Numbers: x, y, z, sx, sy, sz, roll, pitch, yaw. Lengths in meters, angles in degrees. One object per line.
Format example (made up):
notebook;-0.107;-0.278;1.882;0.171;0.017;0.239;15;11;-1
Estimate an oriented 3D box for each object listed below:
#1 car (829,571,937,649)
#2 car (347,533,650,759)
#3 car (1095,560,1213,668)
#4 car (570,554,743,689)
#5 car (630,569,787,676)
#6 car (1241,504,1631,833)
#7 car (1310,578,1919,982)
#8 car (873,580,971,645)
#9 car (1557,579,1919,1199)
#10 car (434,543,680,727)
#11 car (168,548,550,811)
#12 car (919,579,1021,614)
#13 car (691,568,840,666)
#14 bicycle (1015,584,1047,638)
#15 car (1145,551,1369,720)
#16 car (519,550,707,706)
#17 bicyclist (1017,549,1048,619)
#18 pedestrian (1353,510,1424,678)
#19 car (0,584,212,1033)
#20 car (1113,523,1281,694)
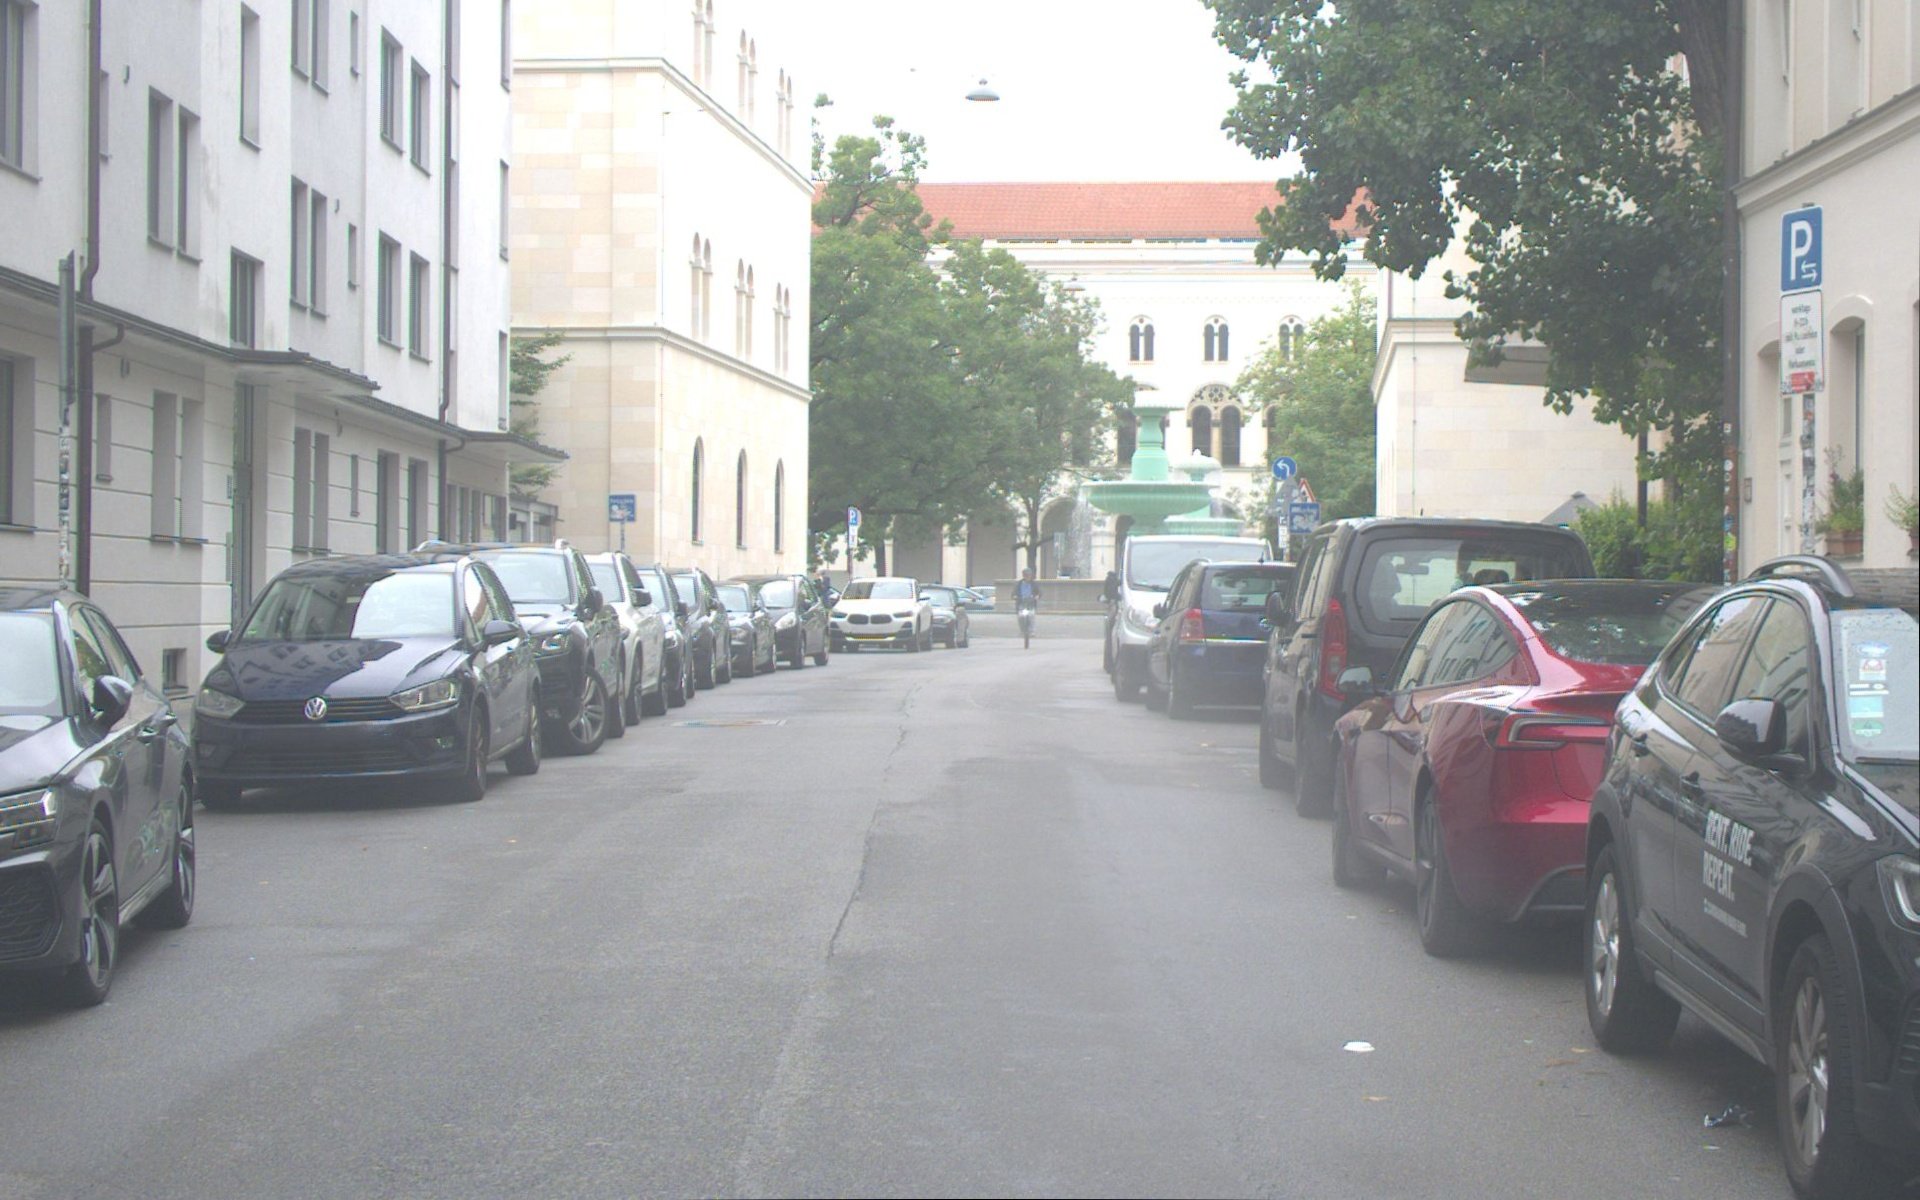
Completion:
car;-1.548;0.208;70.769;1.778;1.529;4.211;-1;-1;5
car;-3.704;0.309;28.338;1.872;1.682;4.520;-1;1;0
car;3.051;0.204;53.869;1.747;1.588;3.955;1;0;4
car;-3.954;0.243;45.369;1.872;1.652;4.080;-1;1;0
car;-3.671;0.308;50.816;1.751;1.448;4.015;-1;1;4
car;2.846;0.384;21.443;1.846;1.770;4.201;3;0;1
car;2.587;0.626;14.407;1.713;1.419;4.458;0;0;-1
car;-0.819;0.286;77.119;1.699;1.388;4.210;-1;-1;6
car;2.783;0.692;9.054;1.746;1.459;4.000;0;1;0
car;-3.880;0.283;33.836;1.872;1.652;4.591;-1;1;0
car;-3.843;0.444;22.648;1.773;1.534;4.159;-1;1;0
car;0.431;-0.148;139.649;3.987;1.371;2.000;0;1;5
car;-3.100;0.247;55.538;1.751;1.448;4.014;-1;1;6
bicycle;1.576;0.239;76.324;0.648;1.193;1.950;0;0;3
car;2.984;0.322;35.345;1.807;1.595;4.215;1;0;-1
car;-3.945;0.273;39.741;1.872;1.652;4.591;-1;1;-2
bicyclist;1.625;-0.351;76.539;0.657;1.545;0.887;0;0;3
pedestrian;5.659;-0.086;45.478;0.793;2.190;0.813;1;1;0
car;-3.825;0.653;12.653;1.638;1.349;4.059;-1;1;-6
car;2.789;0.076;41.336;1.882;1.918;4.874;1;0;3
